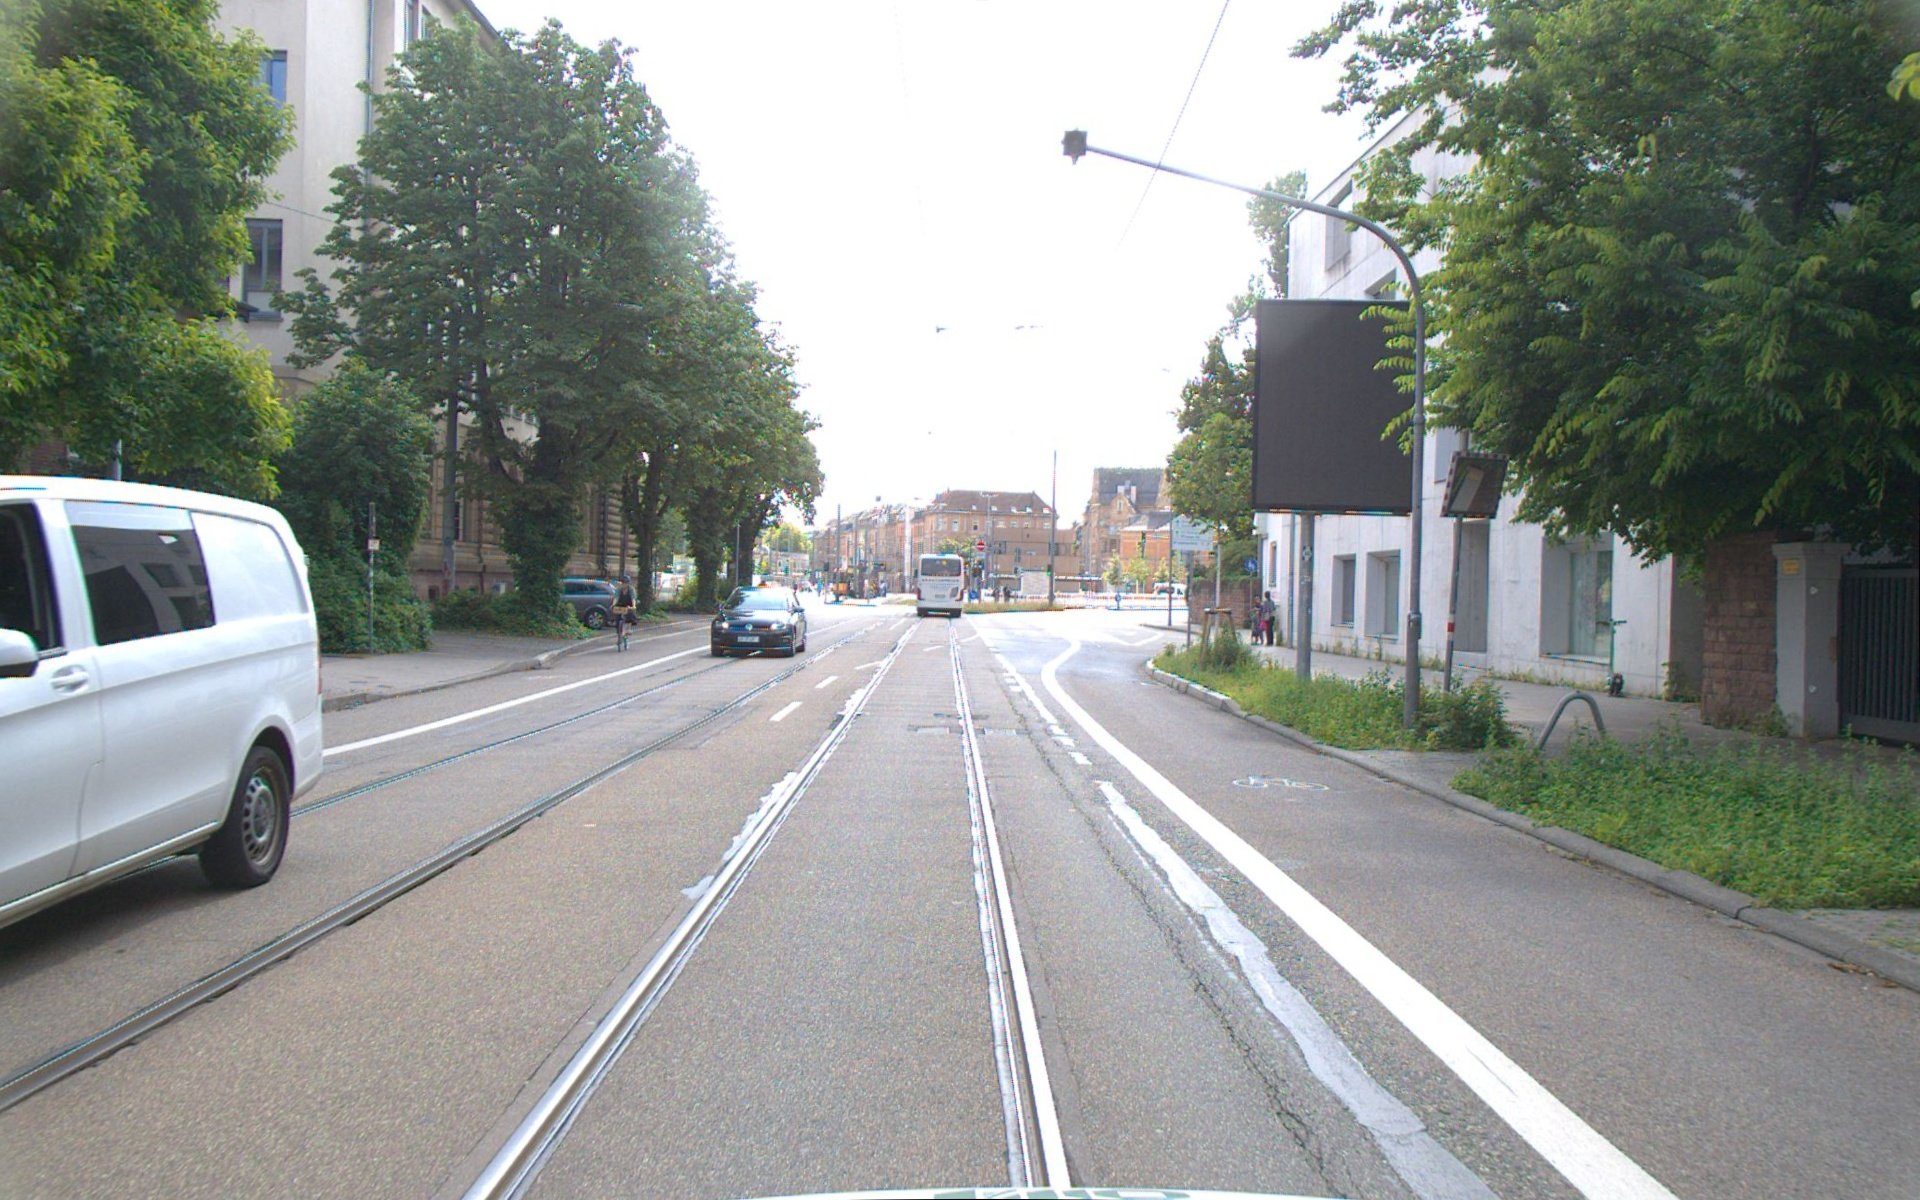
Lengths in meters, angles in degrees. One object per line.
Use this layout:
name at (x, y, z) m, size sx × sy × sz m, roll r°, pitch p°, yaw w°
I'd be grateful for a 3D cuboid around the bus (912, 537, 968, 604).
bus at (-1.202, -1.569, 93.494) m, size 2.859 × 3.386 × 12.202 m, roll 2°, pitch 0°, yaw -1°

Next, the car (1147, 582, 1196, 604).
car at (23.988, -0.842, 187.644) m, size 2.276 × 2.359 × 5.516 m, roll 1°, pitch 0°, yaw -36°

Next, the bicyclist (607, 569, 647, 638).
bicyclist at (-7.539, 0.070, 37.484) m, size 0.587 × 1.518 × 0.882 m, roll -4°, pitch 1°, yaw 2°

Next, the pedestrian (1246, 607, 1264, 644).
pedestrian at (9.914, 0.846, 55.592) m, size 0.417 × 1.221 × 0.401 m, roll -1°, pitch 2°, yaw -33°

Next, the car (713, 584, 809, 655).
car at (-4.253, 0.390, 35.854) m, size 1.654 × 1.426 × 3.930 m, roll 1°, pitch 0°, yaw -1°

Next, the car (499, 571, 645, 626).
car at (-12.572, -0.055, 53.678) m, size 4.186 × 1.577 × 1.906 m, roll 2°, pitch 0°, yaw -32°

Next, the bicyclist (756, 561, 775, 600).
bicyclist at (-7.712, -0.788, 65.656) m, size 0.677 × 1.546 × 0.867 m, roll 0°, pitch 0°, yaw -4°

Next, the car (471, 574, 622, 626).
car at (-12.687, 0.013, 50.763) m, size 4.179 × 1.472 × 1.777 m, roll 1°, pitch 1°, yaw -28°

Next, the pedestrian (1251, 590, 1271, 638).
pedestrian at (10.237, 0.484, 56.172) m, size 0.510 × 1.608 × 0.547 m, roll 0°, pitch 1°, yaw -10°

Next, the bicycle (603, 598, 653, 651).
bicycle at (-7.509, 0.538, 37.437) m, size 0.590 × 1.116 × 2.023 m, roll -4°, pitch 1°, yaw 2°

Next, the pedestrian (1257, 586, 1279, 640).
pedestrian at (10.145, 0.435, 54.511) m, size 0.670 × 1.754 × 0.747 m, roll 0°, pitch 1°, yaw 5°

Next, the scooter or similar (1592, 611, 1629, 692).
scooter or similar at (10.002, 0.783, 25.433) m, size 0.315 × 1.202 × 1.149 m, roll 1°, pitch 0°, yaw 12°

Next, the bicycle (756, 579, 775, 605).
bicycle at (-7.713, -0.331, 65.679) m, size 0.685 × 1.035 × 1.818 m, roll 0°, pitch 1°, yaw -4°

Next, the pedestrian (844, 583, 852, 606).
pedestrian at (-9.693, -0.494, 143.010) m, size 0.598 × 1.917 × 0.794 m, roll 1°, pitch 0°, yaw 0°

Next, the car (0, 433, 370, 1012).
car at (-4.176, 0.385, 6.575) m, size 1.859 × 1.940 × 5.382 m, roll 1°, pitch 0°, yaw -2°
